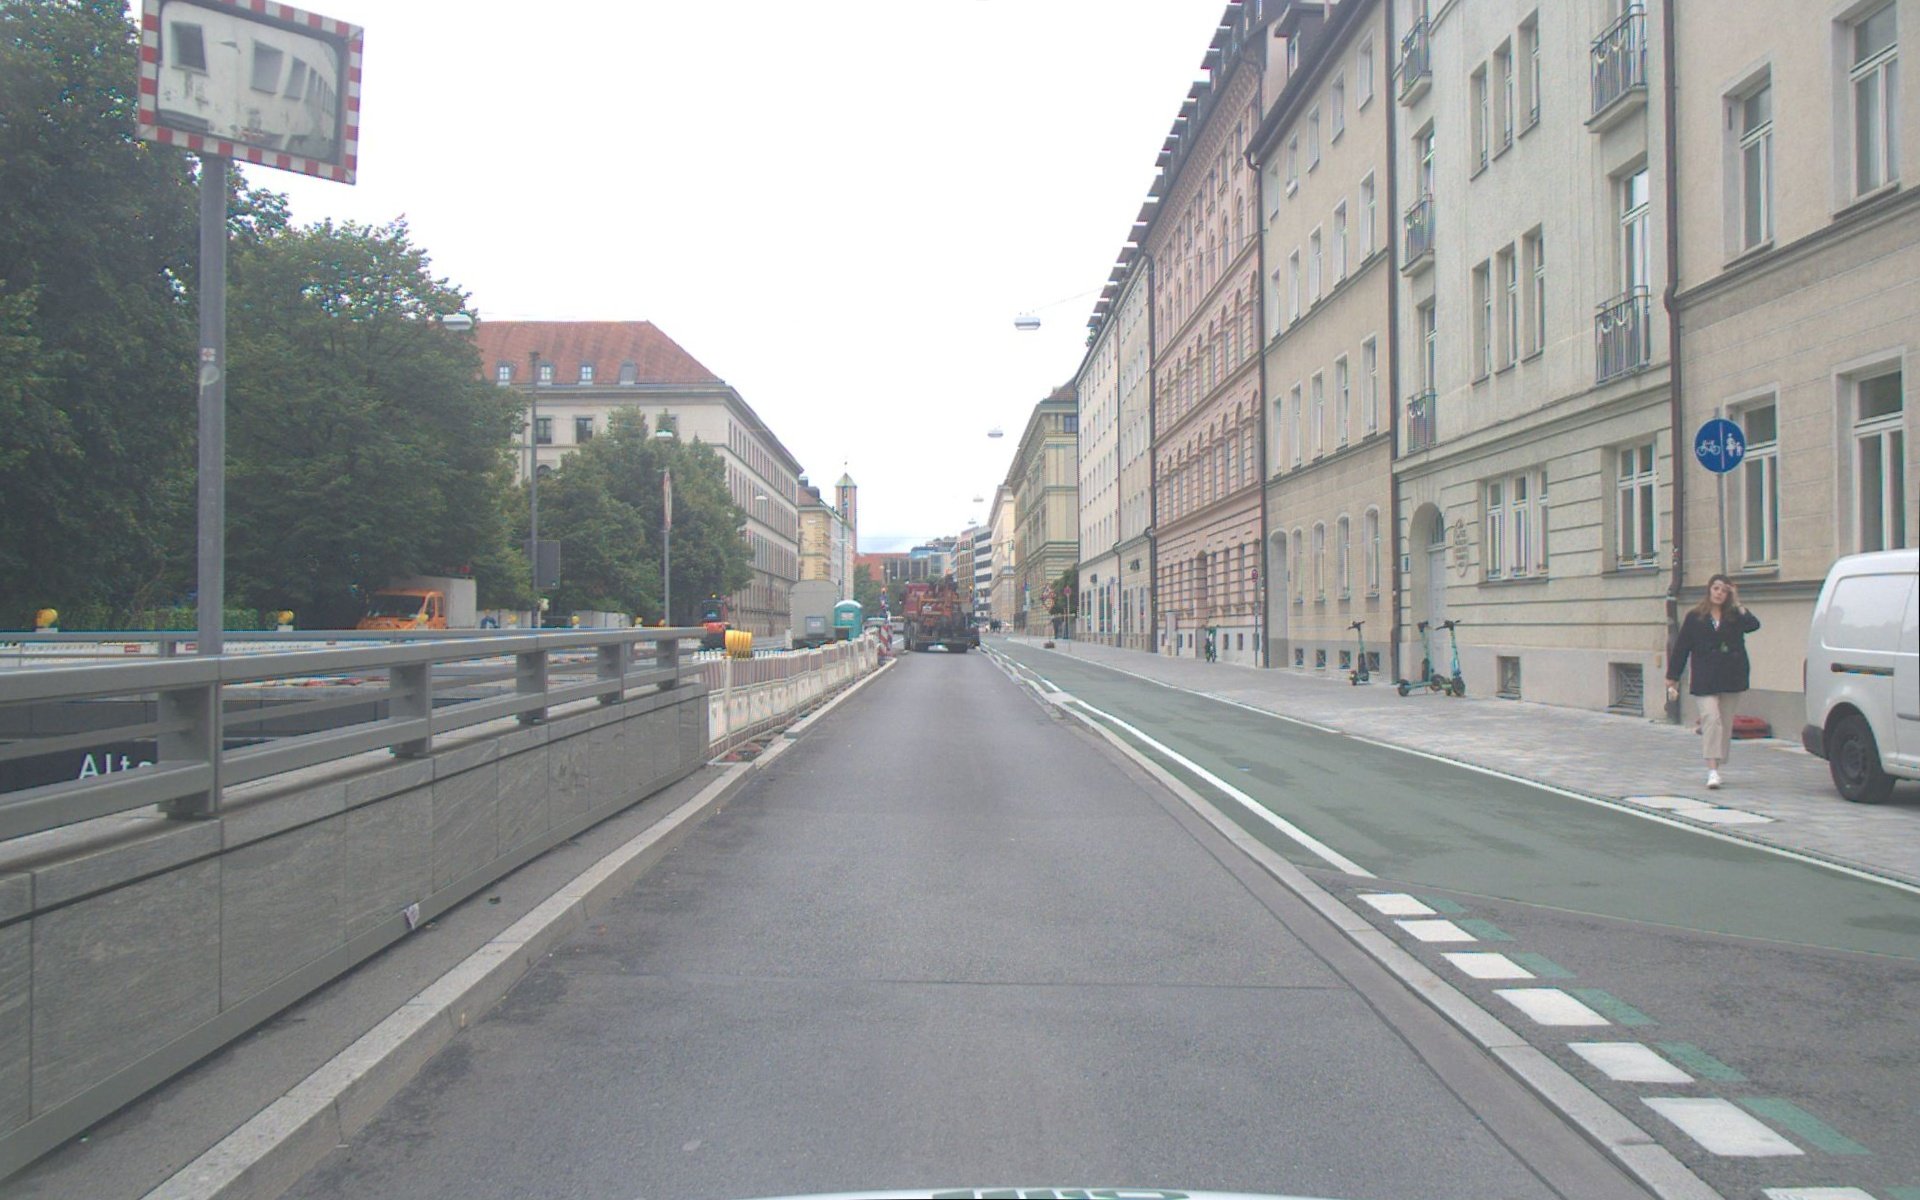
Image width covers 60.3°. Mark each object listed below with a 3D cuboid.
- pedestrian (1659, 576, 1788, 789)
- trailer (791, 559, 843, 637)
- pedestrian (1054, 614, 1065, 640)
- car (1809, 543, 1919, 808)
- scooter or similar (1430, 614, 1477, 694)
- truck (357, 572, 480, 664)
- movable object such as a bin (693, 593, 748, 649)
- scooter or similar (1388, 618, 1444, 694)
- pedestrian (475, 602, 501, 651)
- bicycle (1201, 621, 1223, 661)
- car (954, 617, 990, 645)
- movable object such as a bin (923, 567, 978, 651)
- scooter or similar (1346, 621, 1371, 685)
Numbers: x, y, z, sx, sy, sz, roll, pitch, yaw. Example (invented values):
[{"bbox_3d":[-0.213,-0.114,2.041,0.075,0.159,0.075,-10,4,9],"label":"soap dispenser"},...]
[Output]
[{"bbox_3d":[6.161,0.649,13.377,0.651,1.664,0.737,-1,-1,-1],"label":"pedestrian"},{"bbox_3d":[-6.395,-0.039,73.802,2.183,3.300,7.510,0,-1,-5],"label":"trailer"},{"bbox_3d":[7.424,2.006,123.173,0.774,1.868,0.777,-1,-1,0],"label":"pedestrian"},{"bbox_3d":[7.312,0.485,10.314,1.698,1.780,4.434,-1,0,0],"label":"car"},{"bbox_3d":[8.233,0.889,27.625,0.379,1.295,1.119,-2,-1,-1],"label":"scooter or similar"},{"bbox_3d":[-17.168,0.577,52.758,1.953,2.776,5.869,0,-1,0],"label":"truck"},{"bbox_3d":[-11.425,0.996,79.228,1.884,2.617,4.492,0,0,1],"label":"movable object such as a bin"},{"bbox_3d":[7.881,0.962,28.573,1.106,1.252,0.244,-1,-2,-35],"label":"scooter or similar"},{"bbox_3d":[-15.745,0.879,55.139,0.649,1.631,0.698,0,-1,0],"label":"pedestrian"},{"bbox_3d":[7.924,1.280,51.995,0.417,1.195,1.732,-1,-1,16],"label":"bicycle"},{"bbox_3d":[0.636,1.679,91.073,1.765,1.506,4.685,-1,-1,-2],"label":"car"},{"bbox_3d":[-0.472,0.433,75.396,2.374,3.675,5.849,0,-1,-2],"label":"movable object such as a bin"},{"bbox_3d":[8.053,1.058,33.395,0.241,1.252,1.119,-3,-1,25],"label":"scooter or similar"}]
